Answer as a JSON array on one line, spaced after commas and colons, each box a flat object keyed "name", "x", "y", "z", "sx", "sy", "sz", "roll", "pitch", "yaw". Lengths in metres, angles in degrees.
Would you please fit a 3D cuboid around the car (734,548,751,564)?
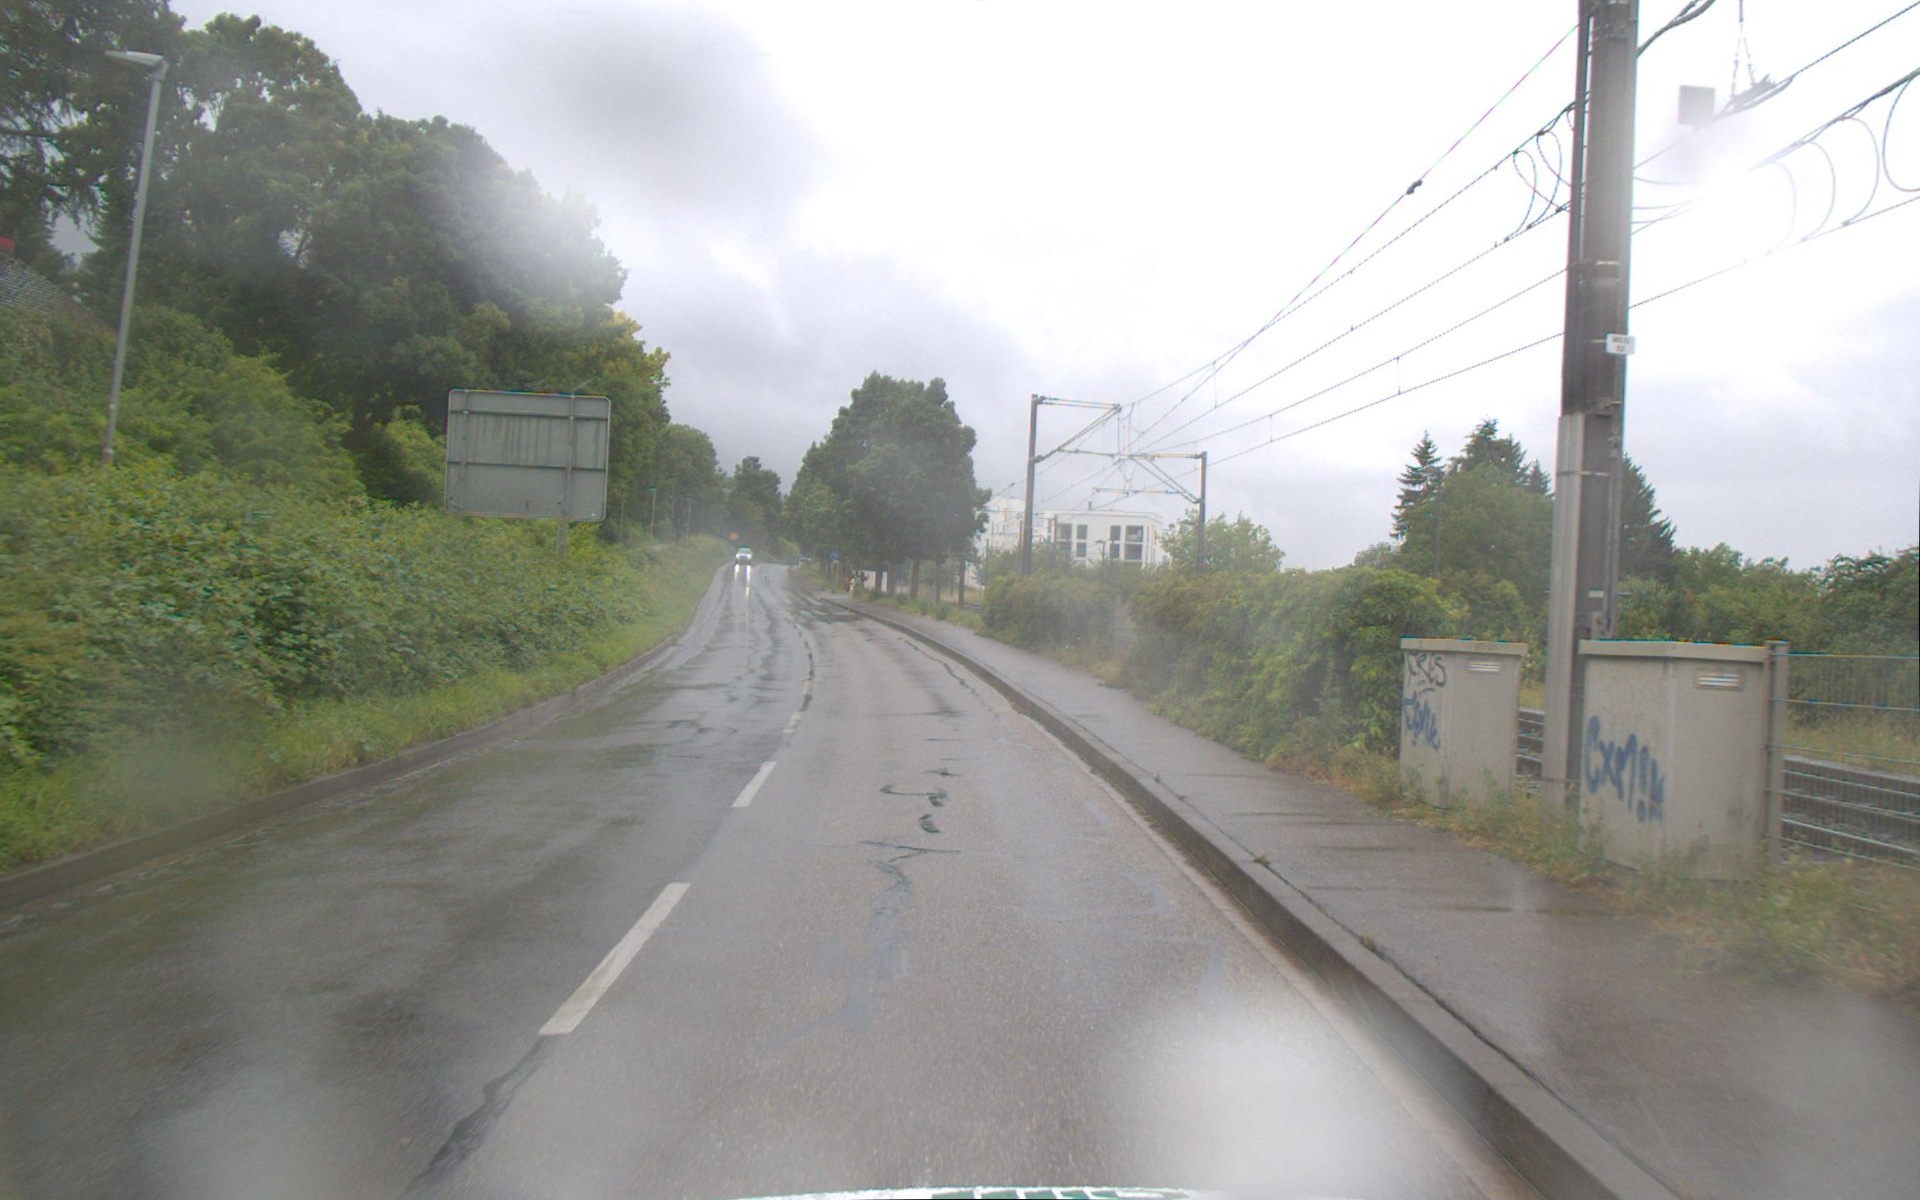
[{"name": "car", "x": -24.175, "y": -4.888, "z": 183.869, "sx": 1.711, "sy": 1.639, "sz": 4.083, "roll": 3, "pitch": 2, "yaw": -6}]
